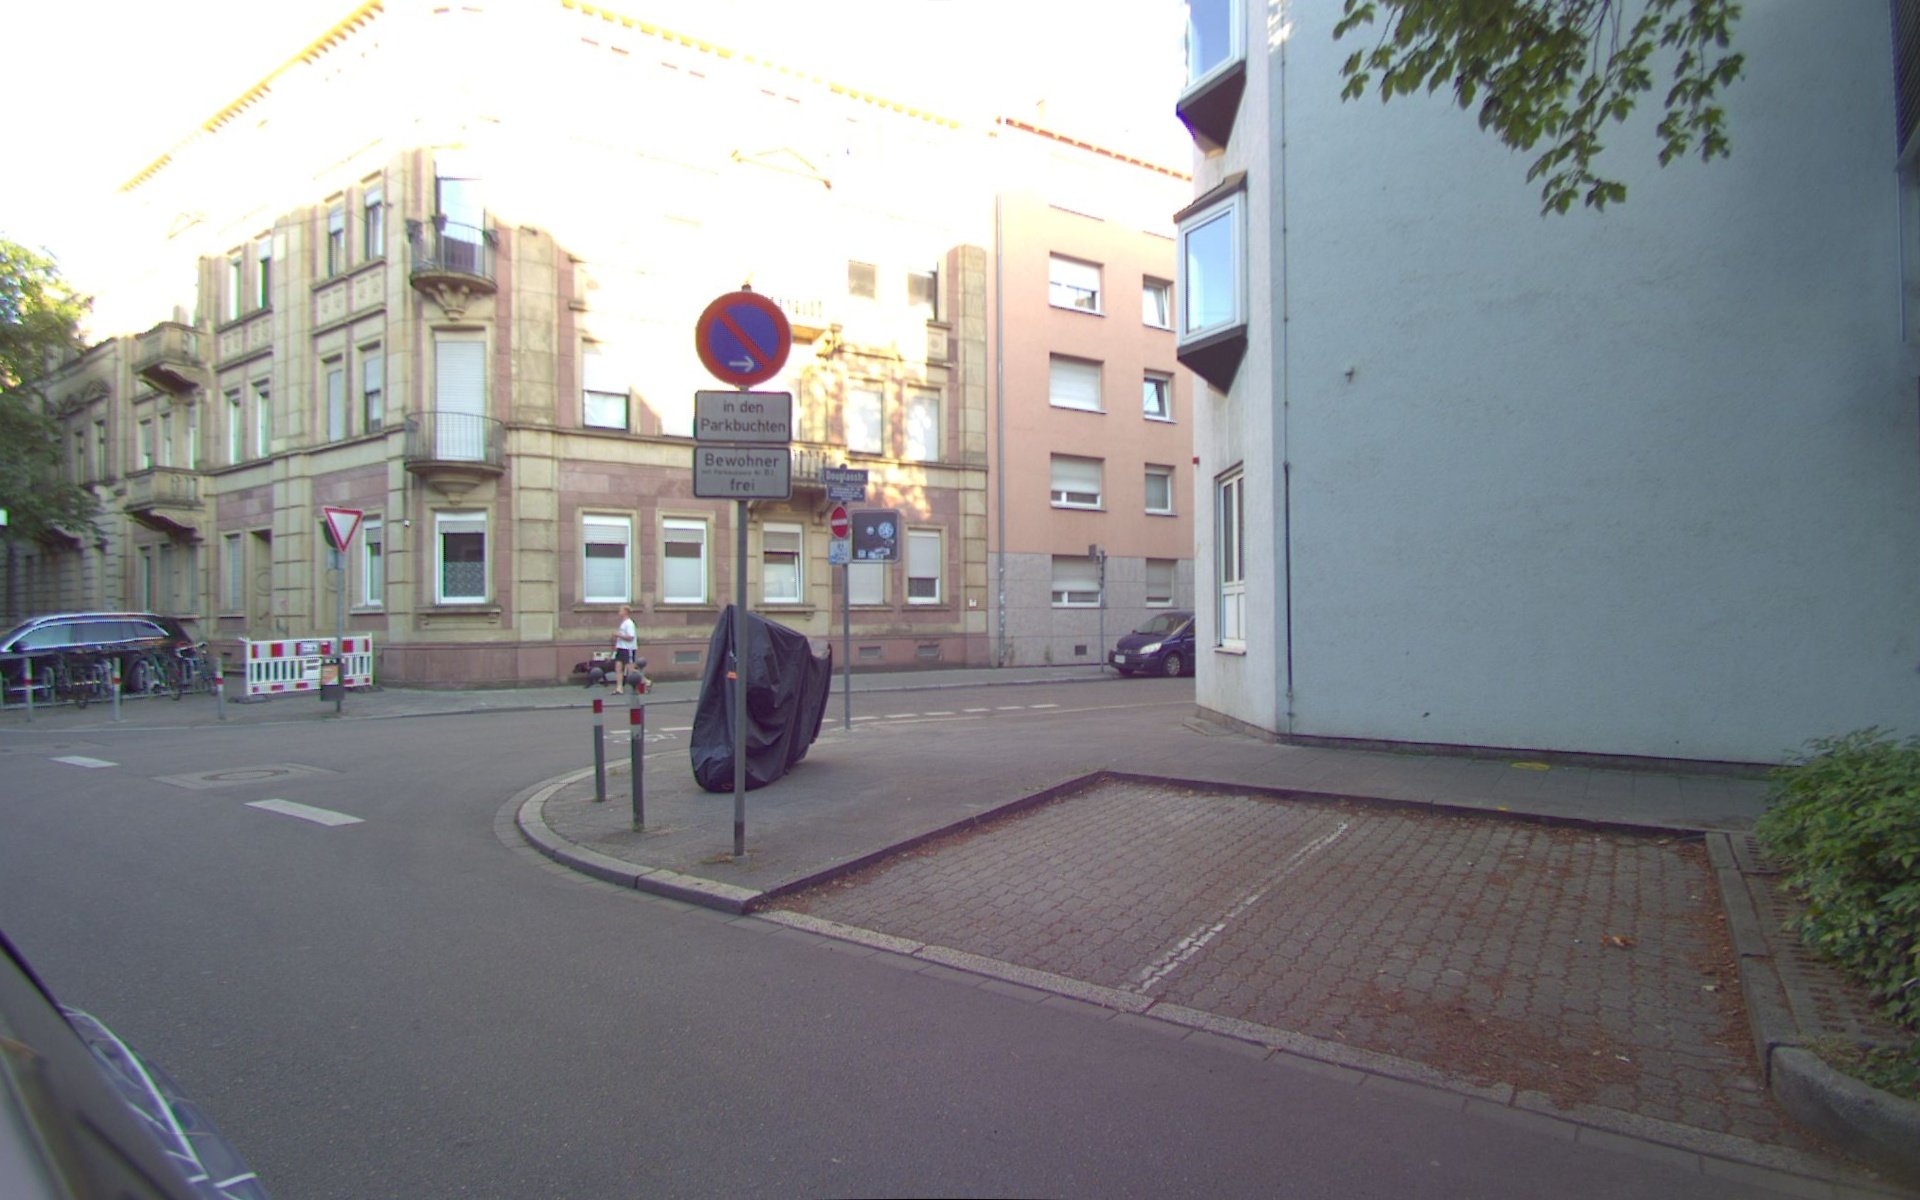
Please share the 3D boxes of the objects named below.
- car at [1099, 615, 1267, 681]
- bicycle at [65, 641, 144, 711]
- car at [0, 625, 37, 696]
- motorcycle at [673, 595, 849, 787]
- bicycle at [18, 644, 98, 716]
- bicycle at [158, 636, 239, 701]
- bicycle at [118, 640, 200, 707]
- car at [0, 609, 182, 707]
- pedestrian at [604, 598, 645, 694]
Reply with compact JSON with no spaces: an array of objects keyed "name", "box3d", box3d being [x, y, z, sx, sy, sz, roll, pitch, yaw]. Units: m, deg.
[{"name":"car","box3d":[5.741,1.170,25.848,4.297,1.529,1.789,1,-2,-36]},{"name":"bicycle","box3d":[-15.267,1.332,18.048,2.034,1.159,0.555,-1,-1,34]},{"name":"car","box3d":[-24.301,1.434,23.387,1.740,1.690,4.190,-1,-2,39]},{"name":"motorcycle","box3d":[-1.721,0.747,9.198,0.809,1.516,2.276,-1,-1,10]},{"name":"bicycle","box3d":[-15.620,1.355,17.519,2.034,1.159,0.555,-1,-1,34]},{"name":"bicycle","box3d":[-14.441,1.273,19.180,2.033,1.159,0.556,-1,-1,33]},{"name":"bicycle","box3d":[-14.796,1.334,18.676,2.033,1.159,0.556,-1,-1,33]},{"name":"car","box3d":[-17.896,1.078,19.459,1.740,1.795,4.367,-1,-2,39]},{"name":"pedestrian","box3d":[-6.514,0.879,19.628,0.640,1.821,0.575,0,-1,-31]}]
